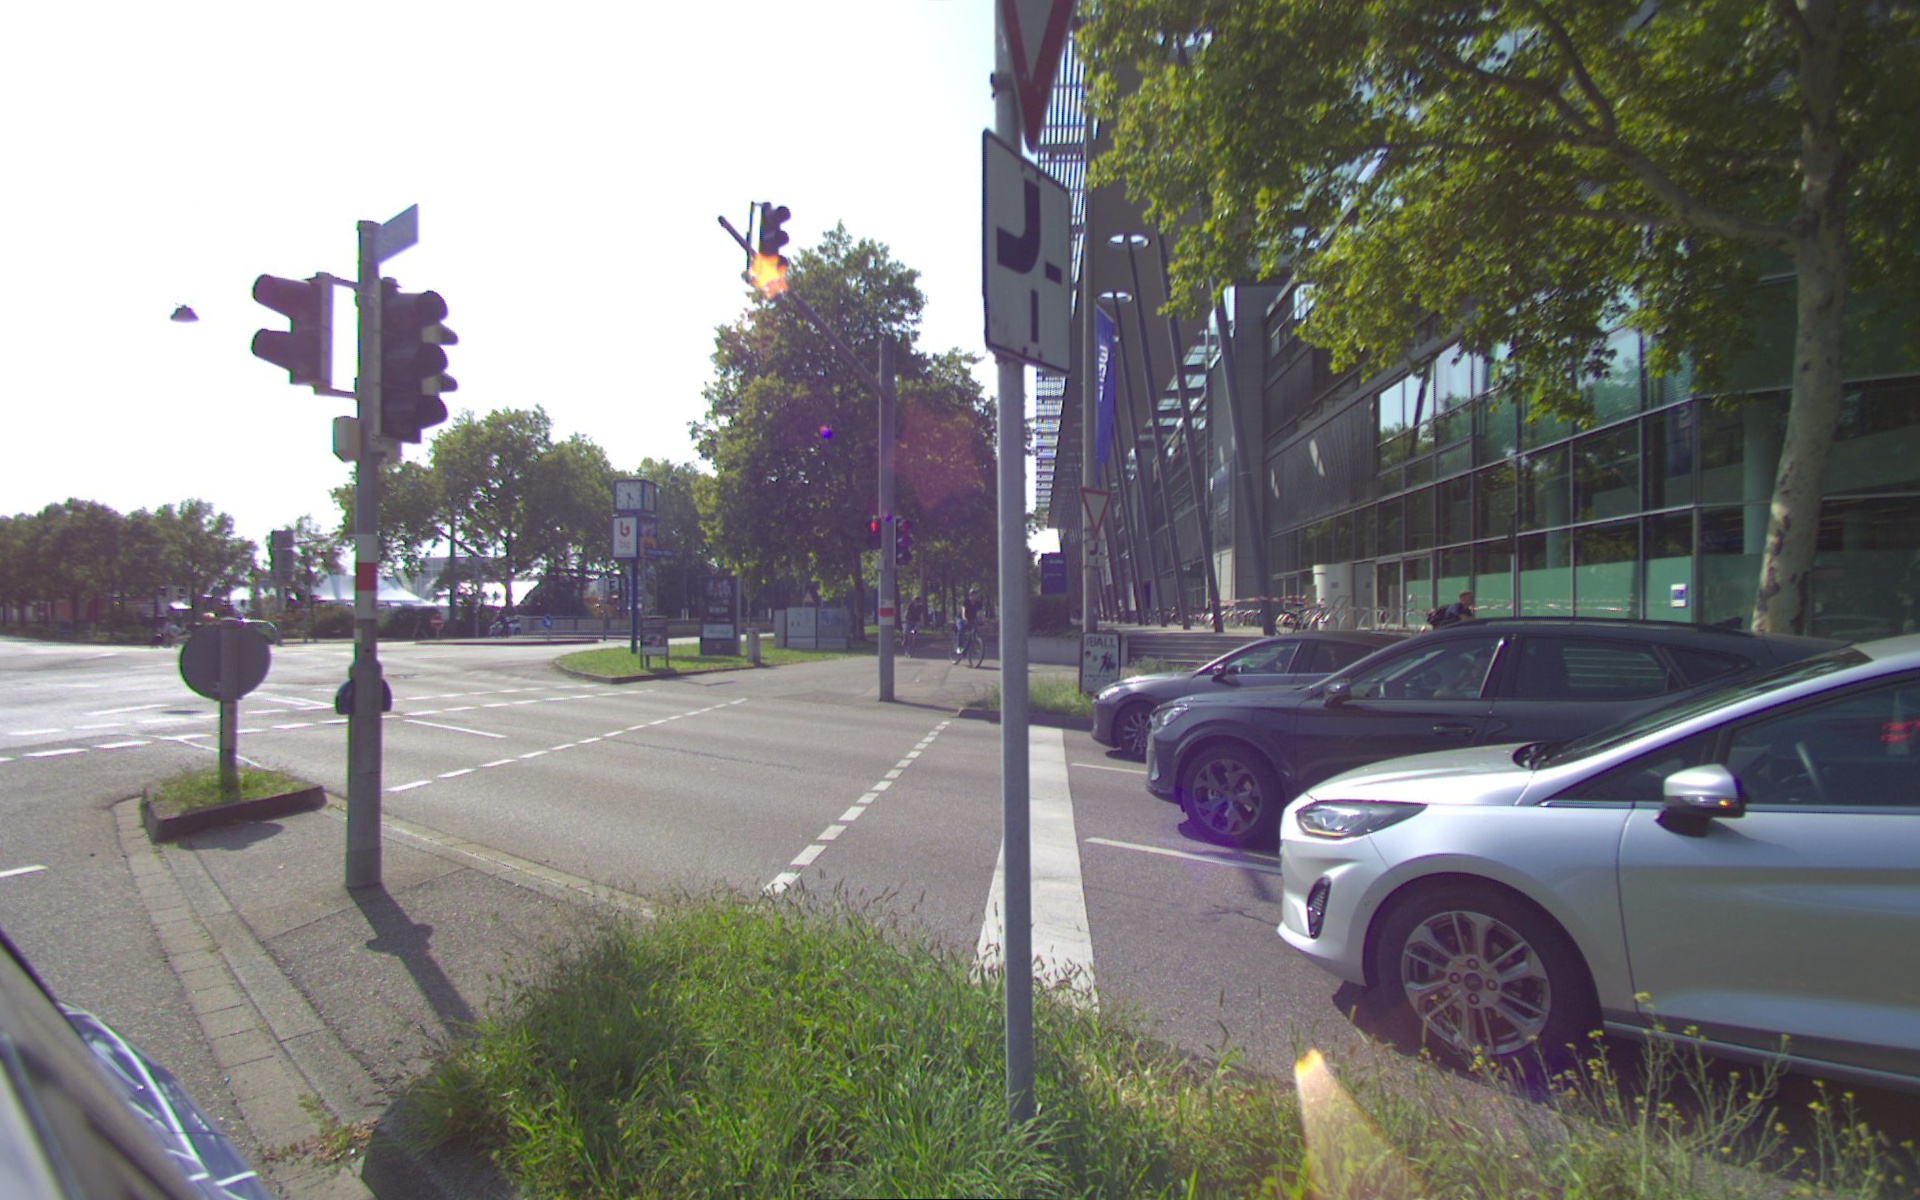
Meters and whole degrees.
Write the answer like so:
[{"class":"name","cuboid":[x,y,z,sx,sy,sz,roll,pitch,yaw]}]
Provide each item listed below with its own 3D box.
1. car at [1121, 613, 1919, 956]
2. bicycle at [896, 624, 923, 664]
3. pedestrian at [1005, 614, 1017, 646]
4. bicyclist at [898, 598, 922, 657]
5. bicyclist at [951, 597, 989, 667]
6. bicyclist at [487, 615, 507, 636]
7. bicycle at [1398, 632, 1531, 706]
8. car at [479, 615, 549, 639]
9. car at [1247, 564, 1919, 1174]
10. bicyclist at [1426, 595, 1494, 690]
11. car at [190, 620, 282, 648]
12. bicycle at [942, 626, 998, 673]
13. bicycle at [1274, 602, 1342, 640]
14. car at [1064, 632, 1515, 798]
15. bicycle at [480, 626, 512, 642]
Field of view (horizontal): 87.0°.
[{"class":"car","cuboid":[3.343,0.861,6.433,4.260,1.515,1.836,-1,-2,39]},{"class":"bicycle","cuboid":[-1.464,1.278,29.665,0.636,1.103,1.648,0,-1,3]},{"class":"pedestrian","cuboid":[2.207,1.299,43.573,0.482,1.375,0.538,0,0,0]},{"class":"bicyclist","cuboid":[-1.459,0.803,29.706,0.626,1.701,0.808,0,-1,3]},{"class":"bicyclist","cuboid":[0.251,0.786,25.220,0.657,1.701,0.812,1,-1,-25]},{"class":"bicyclist","cuboid":[-25.392,1.392,55.466,0.902,1.149,0.517,0,-1,19]},{"class":"bicycle","cuboid":[8.363,1.117,16.832,1.888,1.119,0.649,0,0,41]},{"class":"car","cuboid":[-29.964,1.808,68.202,1.837,1.457,5.421,0,0,6]},{"class":"car","cuboid":[3.074,0.675,2.978,3.998,1.507,1.626,-1,-1,41]},{"class":"bicyclist","cuboid":[8.330,0.682,16.866,0.885,1.529,0.647,0,0,42]},{"class":"car","cuboid":[-41.418,1.922,58.006,3.930,1.564,2.007,0,-1,-24]},{"class":"bicycle","cuboid":[0.229,1.214,25.276,0.674,1.099,1.903,0,0,-24]},{"class":"bicycle","cuboid":[10.190,0.610,29.662,1.838,1.102,0.528,0,0,-6]},{"class":"car","cuboid":[3.287,1.047,10.544,4.155,1.363,1.692,-1,-3,39]},{"class":"bicycle","cuboid":[-25.431,1.855,55.472,1.723,0.871,0.527,0,-1,20]}]
